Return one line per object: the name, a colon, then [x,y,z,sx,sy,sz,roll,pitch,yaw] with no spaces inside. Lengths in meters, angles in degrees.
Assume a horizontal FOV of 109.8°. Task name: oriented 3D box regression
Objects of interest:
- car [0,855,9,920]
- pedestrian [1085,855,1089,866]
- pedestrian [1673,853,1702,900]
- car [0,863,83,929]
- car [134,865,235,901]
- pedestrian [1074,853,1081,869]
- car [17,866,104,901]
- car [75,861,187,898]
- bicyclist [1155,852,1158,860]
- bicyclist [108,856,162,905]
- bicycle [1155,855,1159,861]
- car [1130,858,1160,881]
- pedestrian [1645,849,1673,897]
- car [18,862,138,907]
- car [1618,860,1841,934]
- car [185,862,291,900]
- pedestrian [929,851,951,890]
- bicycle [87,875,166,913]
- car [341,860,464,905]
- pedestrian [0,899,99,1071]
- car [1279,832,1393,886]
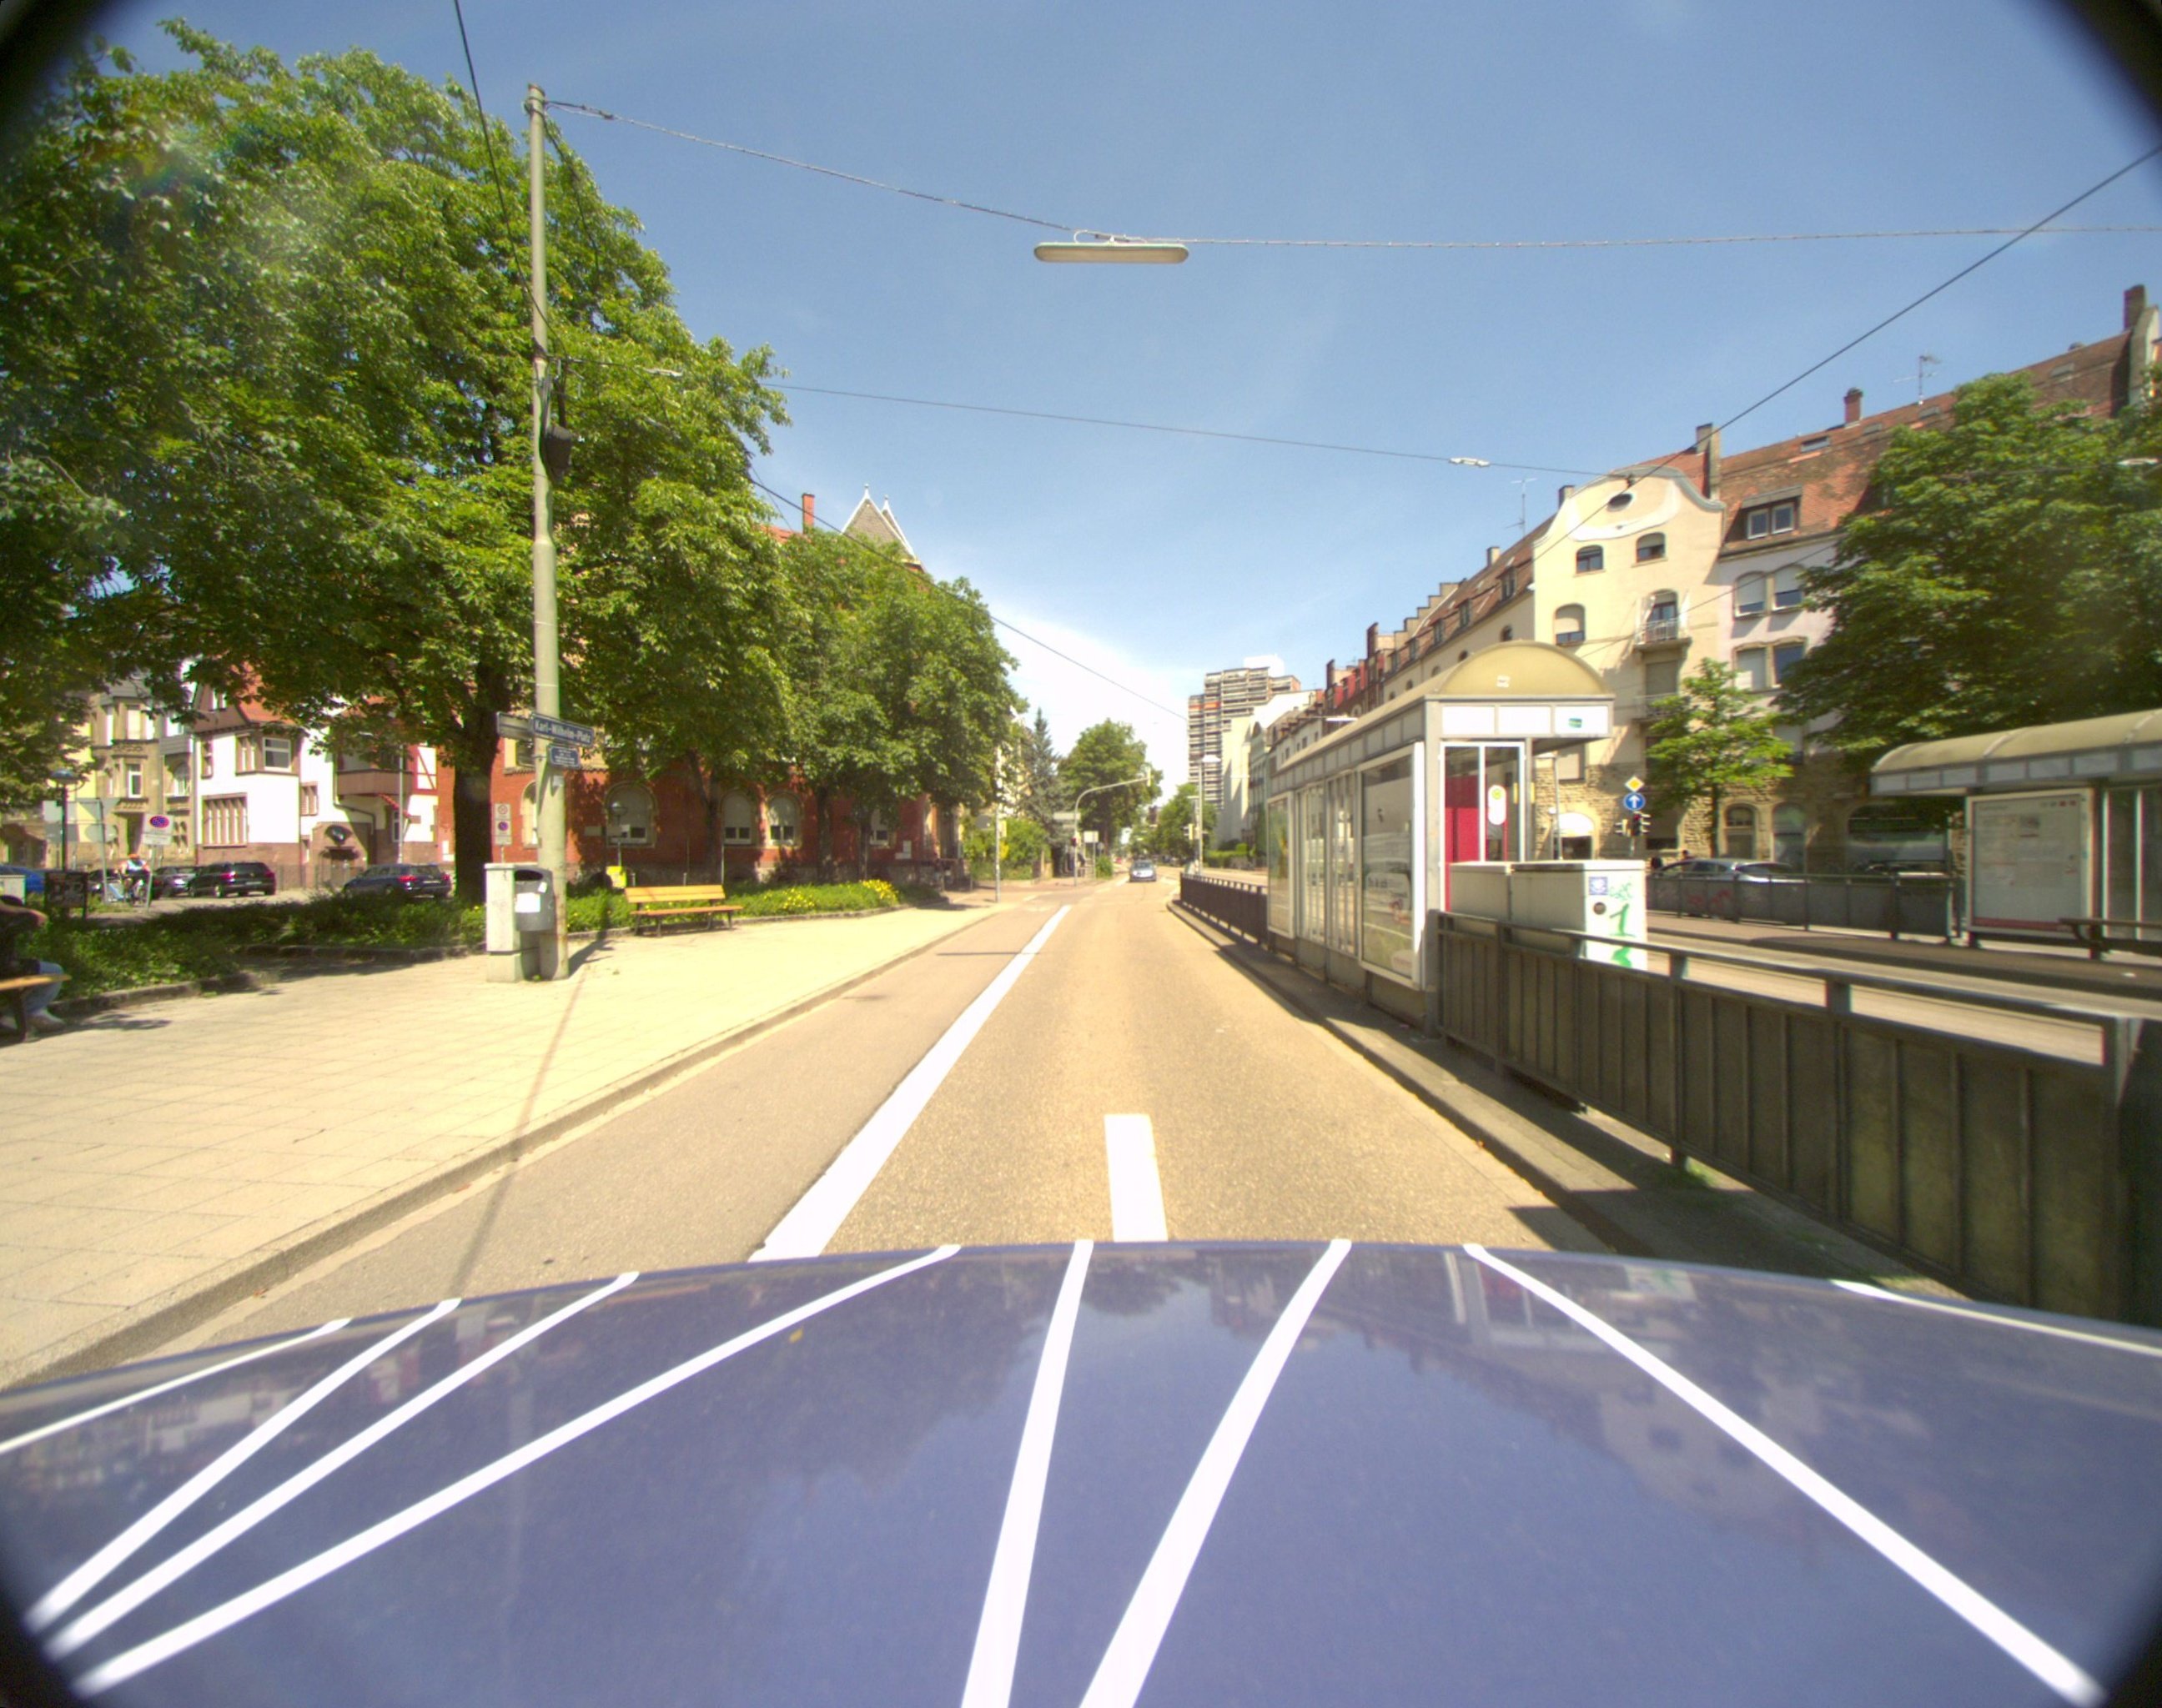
car: [-37.662,1.201,23.800,1.934,2.178,4.315,-2,1,23]
pedestrian: [0.963,1.104,123.390,0.686,1.732,0.660,-2,1,3]
pedestrian: [20.285,0.754,25.434,0.594,1.542,0.474,0,0,-1]
car: [-32.846,1.301,22.032,1.934,1.869,4.315,-2,1,23]
car: [-44.152,1.431,37.417,4.299,1.608,1.941,-2,1,23]
pedestrian: [-0.366,0.703,76.032,0.702,1.645,0.665,0,0,1]
car: [-59.182,1.709,44.083,4.299,1.862,1.941,-2,1,23]
car: [-43.124,1.169,34.482,5.023,1.474,1.941,-2,1,24]
bicyclist: [17.966,0.387,181.009,0.644,1.864,0.716,-2,1,-2]
bicyclist: [-33.716,0.926,27.088,1.251,1.686,0.876,-2,1,26]
bicycle: [17.995,0.916,181.027,0.644,1.503,1.970,-2,1,-2]
car: [4.303,0.995,50.829,1.895,1.372,4.001,-2,1,5]
pedestrian: [20.125,0.651,26.468,0.594,1.637,0.474,0,0,1]
car: [-40.379,1.234,30.572,4.514,1.608,1.941,-2,1,25]
car: [14.836,0.910,17.734,1.812,1.386,3.999,-2,1,1]
car: [-39.592,1.275,35.671,4.299,1.608,1.941,-2,1,23]
pedestrian: [-6.661,0.789,35.892,0.840,1.813,0.672,-1,1,-32]
bicycle: [-34.599,1.445,27.527,3.735,1.256,0.957,-2,1,26]
car: [-27.046,1.134,30.293,4.299,1.608,1.941,-2,1,23]
pedestrian: [-7.744,0.912,5.424,0.566,1.136,0.725,0,1,-16]
car: [13.708,0.271,41.291,2.277,2.658,5.815,-3,1,-28]
